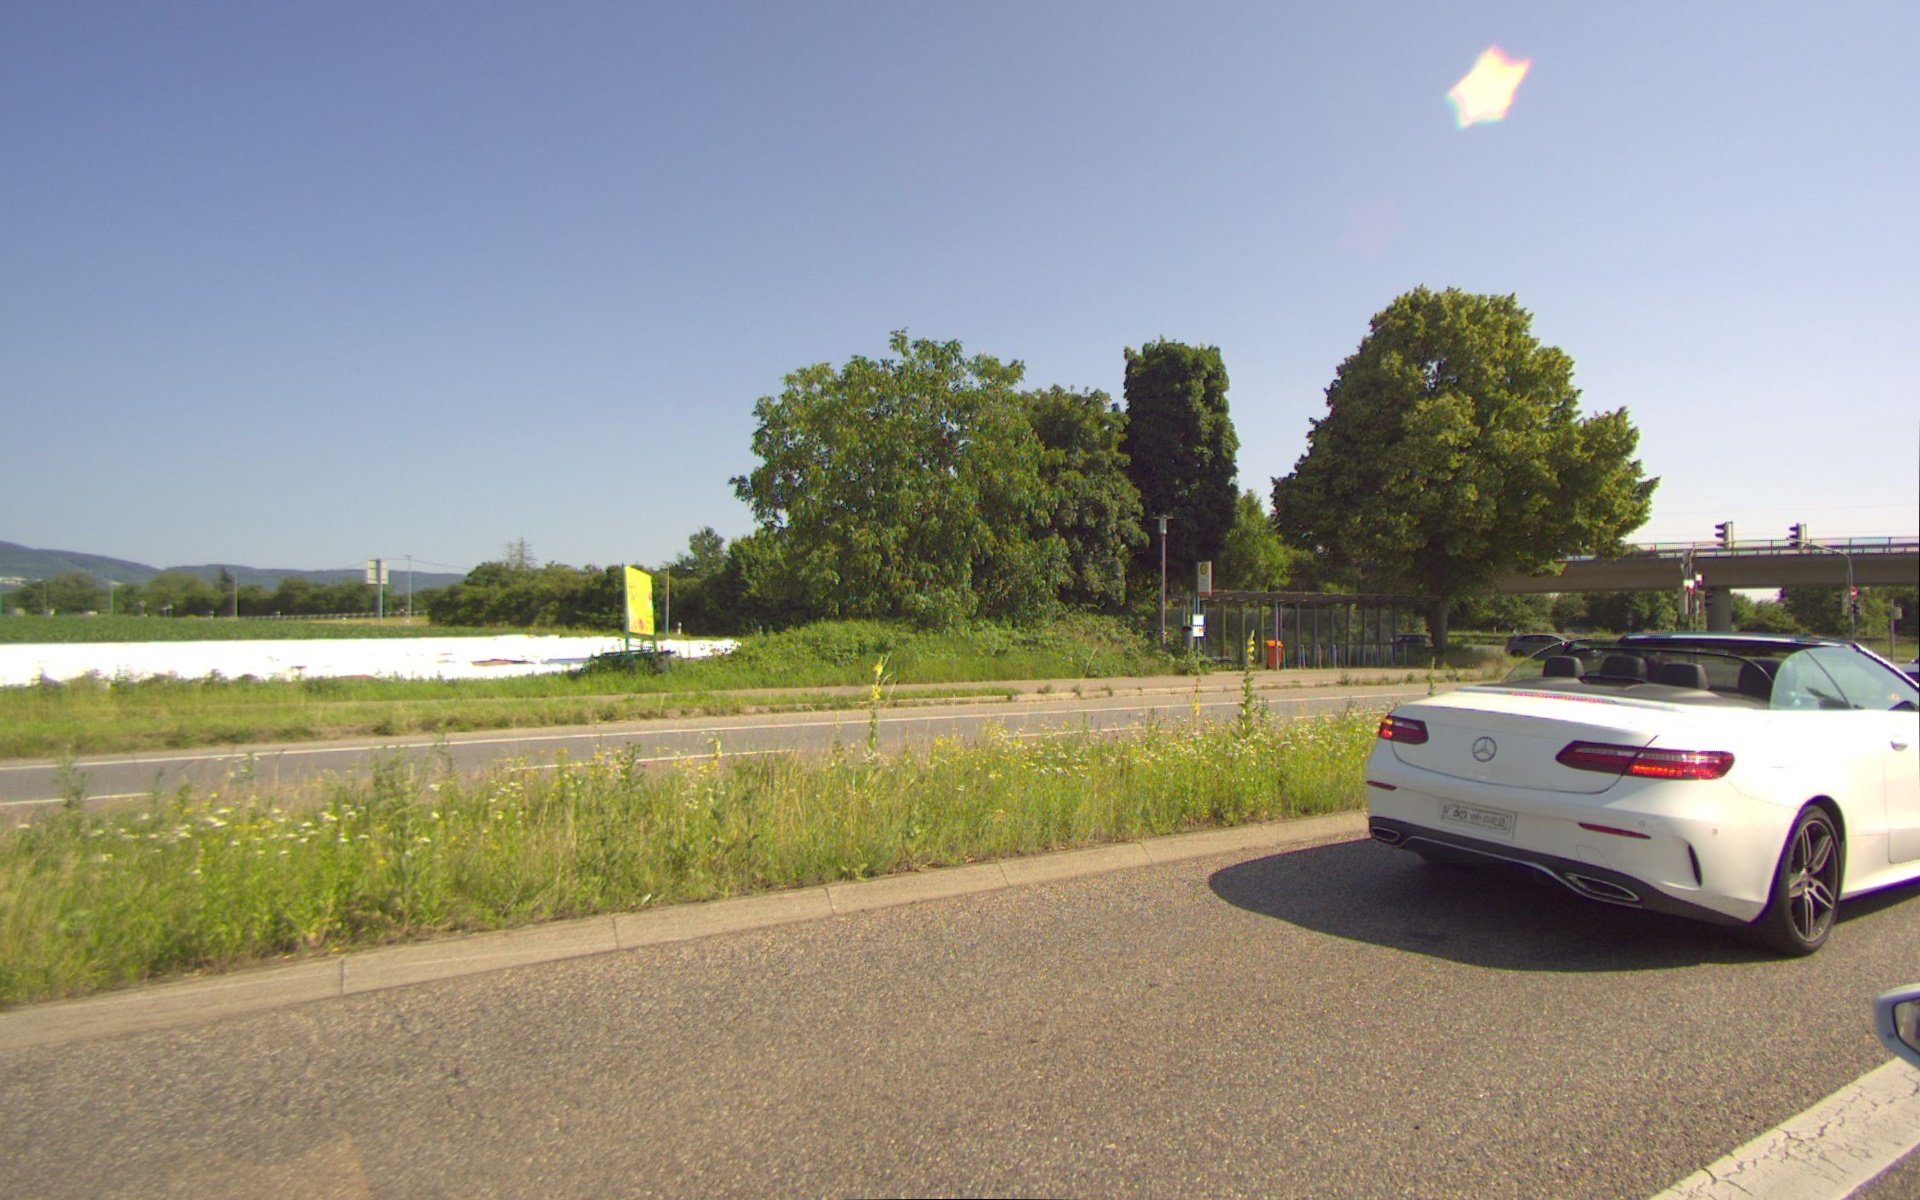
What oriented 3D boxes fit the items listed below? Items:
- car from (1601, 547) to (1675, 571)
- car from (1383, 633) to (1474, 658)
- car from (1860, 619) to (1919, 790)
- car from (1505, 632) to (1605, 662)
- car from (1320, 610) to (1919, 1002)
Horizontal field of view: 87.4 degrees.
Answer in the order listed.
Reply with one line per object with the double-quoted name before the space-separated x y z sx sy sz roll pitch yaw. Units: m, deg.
"car" 49.264 -2.956 73.021 3.919 1.506 2.001 2 1 11
"car" 25.070 2.411 53.785 4.278 1.297 1.647 -1 -2 31
"car" 10.217 0.925 9.198 4.304 1.429 1.706 1 1 -30
"car" 29.977 2.352 50.653 4.066 1.443 1.862 -1 -2 40
"car" 4.331 0.819 5.729 4.588 1.444 1.794 1 0 -31
